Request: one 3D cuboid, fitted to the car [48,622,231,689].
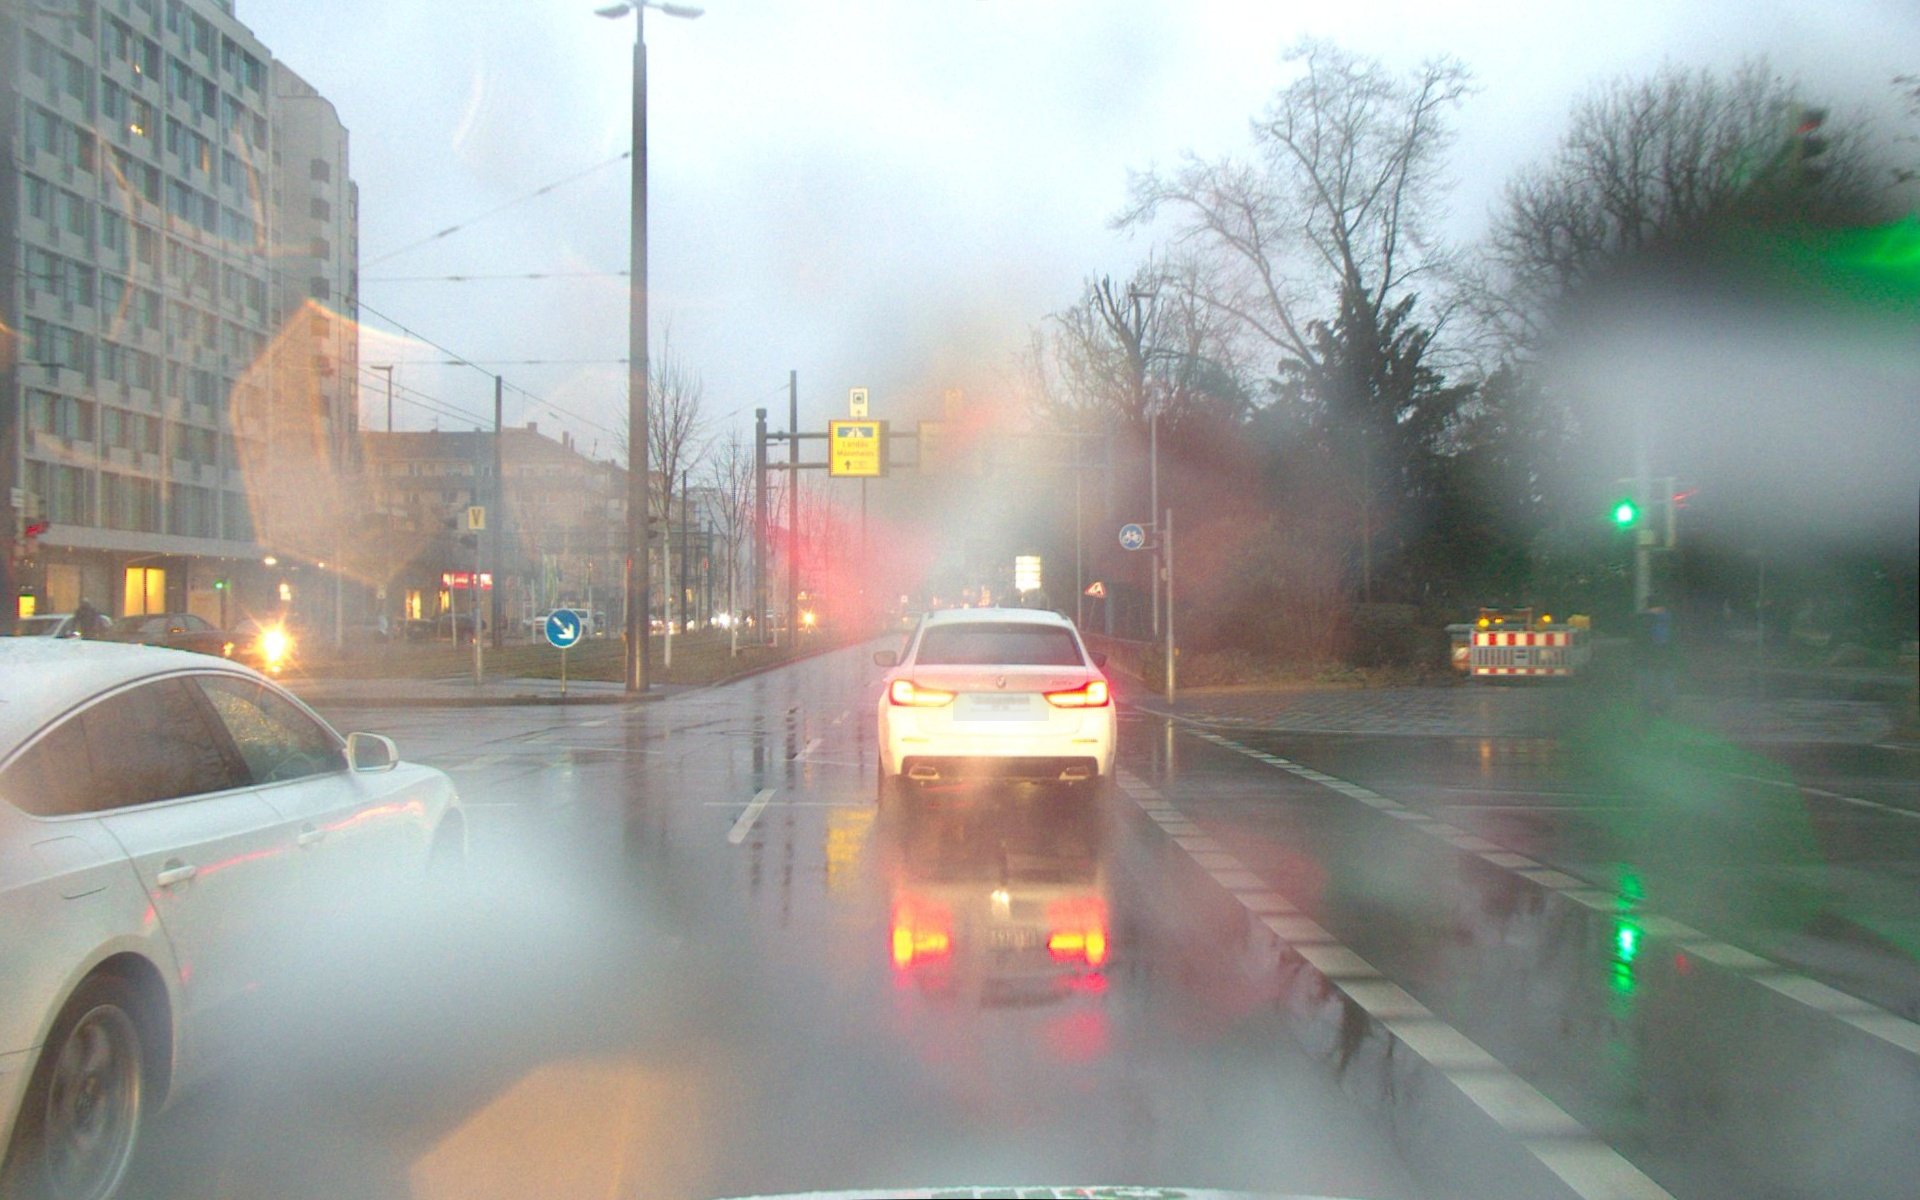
[{"bbox_3d":[-20.034,1.307,40.671,1.953,1.487,5.094,1,-1,0],"label":"car"}]

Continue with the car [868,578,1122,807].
[{"bbox_3d":[0.132,0.670,13.693,1.725,1.580,4.248,1,-1,-4],"label":"car"}]

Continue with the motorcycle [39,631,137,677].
[{"bbox_3d":[-21.708,1.332,41.241,0.853,1.075,2.966,1,-1,0],"label":"motorcycle"}]

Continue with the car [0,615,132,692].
[{"bbox_3d":[-23.247,1.323,42.317,1.843,1.821,4.597,1,-1,-1],"label":"car"}]

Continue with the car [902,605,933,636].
[{"bbox_3d":[-2.869,1.402,112.326,1.953,2.049,3.999,1,-1,0],"label":"car"}]

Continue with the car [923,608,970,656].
[{"bbox_3d":[-0.589,1.398,72.894,1.953,2.049,3.999,1,-1,0],"label":"car"}]

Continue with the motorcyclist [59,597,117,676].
[{"bbox_3d":[-21.700,0.908,41.171,0.853,1.918,1.033,1,-1,0],"label":"motorcyclist"}]

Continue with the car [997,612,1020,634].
[{"bbox_3d":[4.521,2.165,154.913,1.953,2.049,3.999,1,-1,0],"label":"car"}]

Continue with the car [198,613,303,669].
[{"bbox_3d":[-20.361,1.157,47.675,1.960,1.487,5.075,1,-1,-14],"label":"car"}]

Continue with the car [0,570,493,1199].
[{"bbox_3d":[-2.782,0.688,4.805,1.724,1.495,4.250,1,-1,-2],"label":"car"}]

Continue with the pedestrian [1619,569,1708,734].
[{"bbox_3d":[8.337,0.603,19.605,0.700,1.912,0.673,1,-1,-13],"label":"pedestrian"}]
